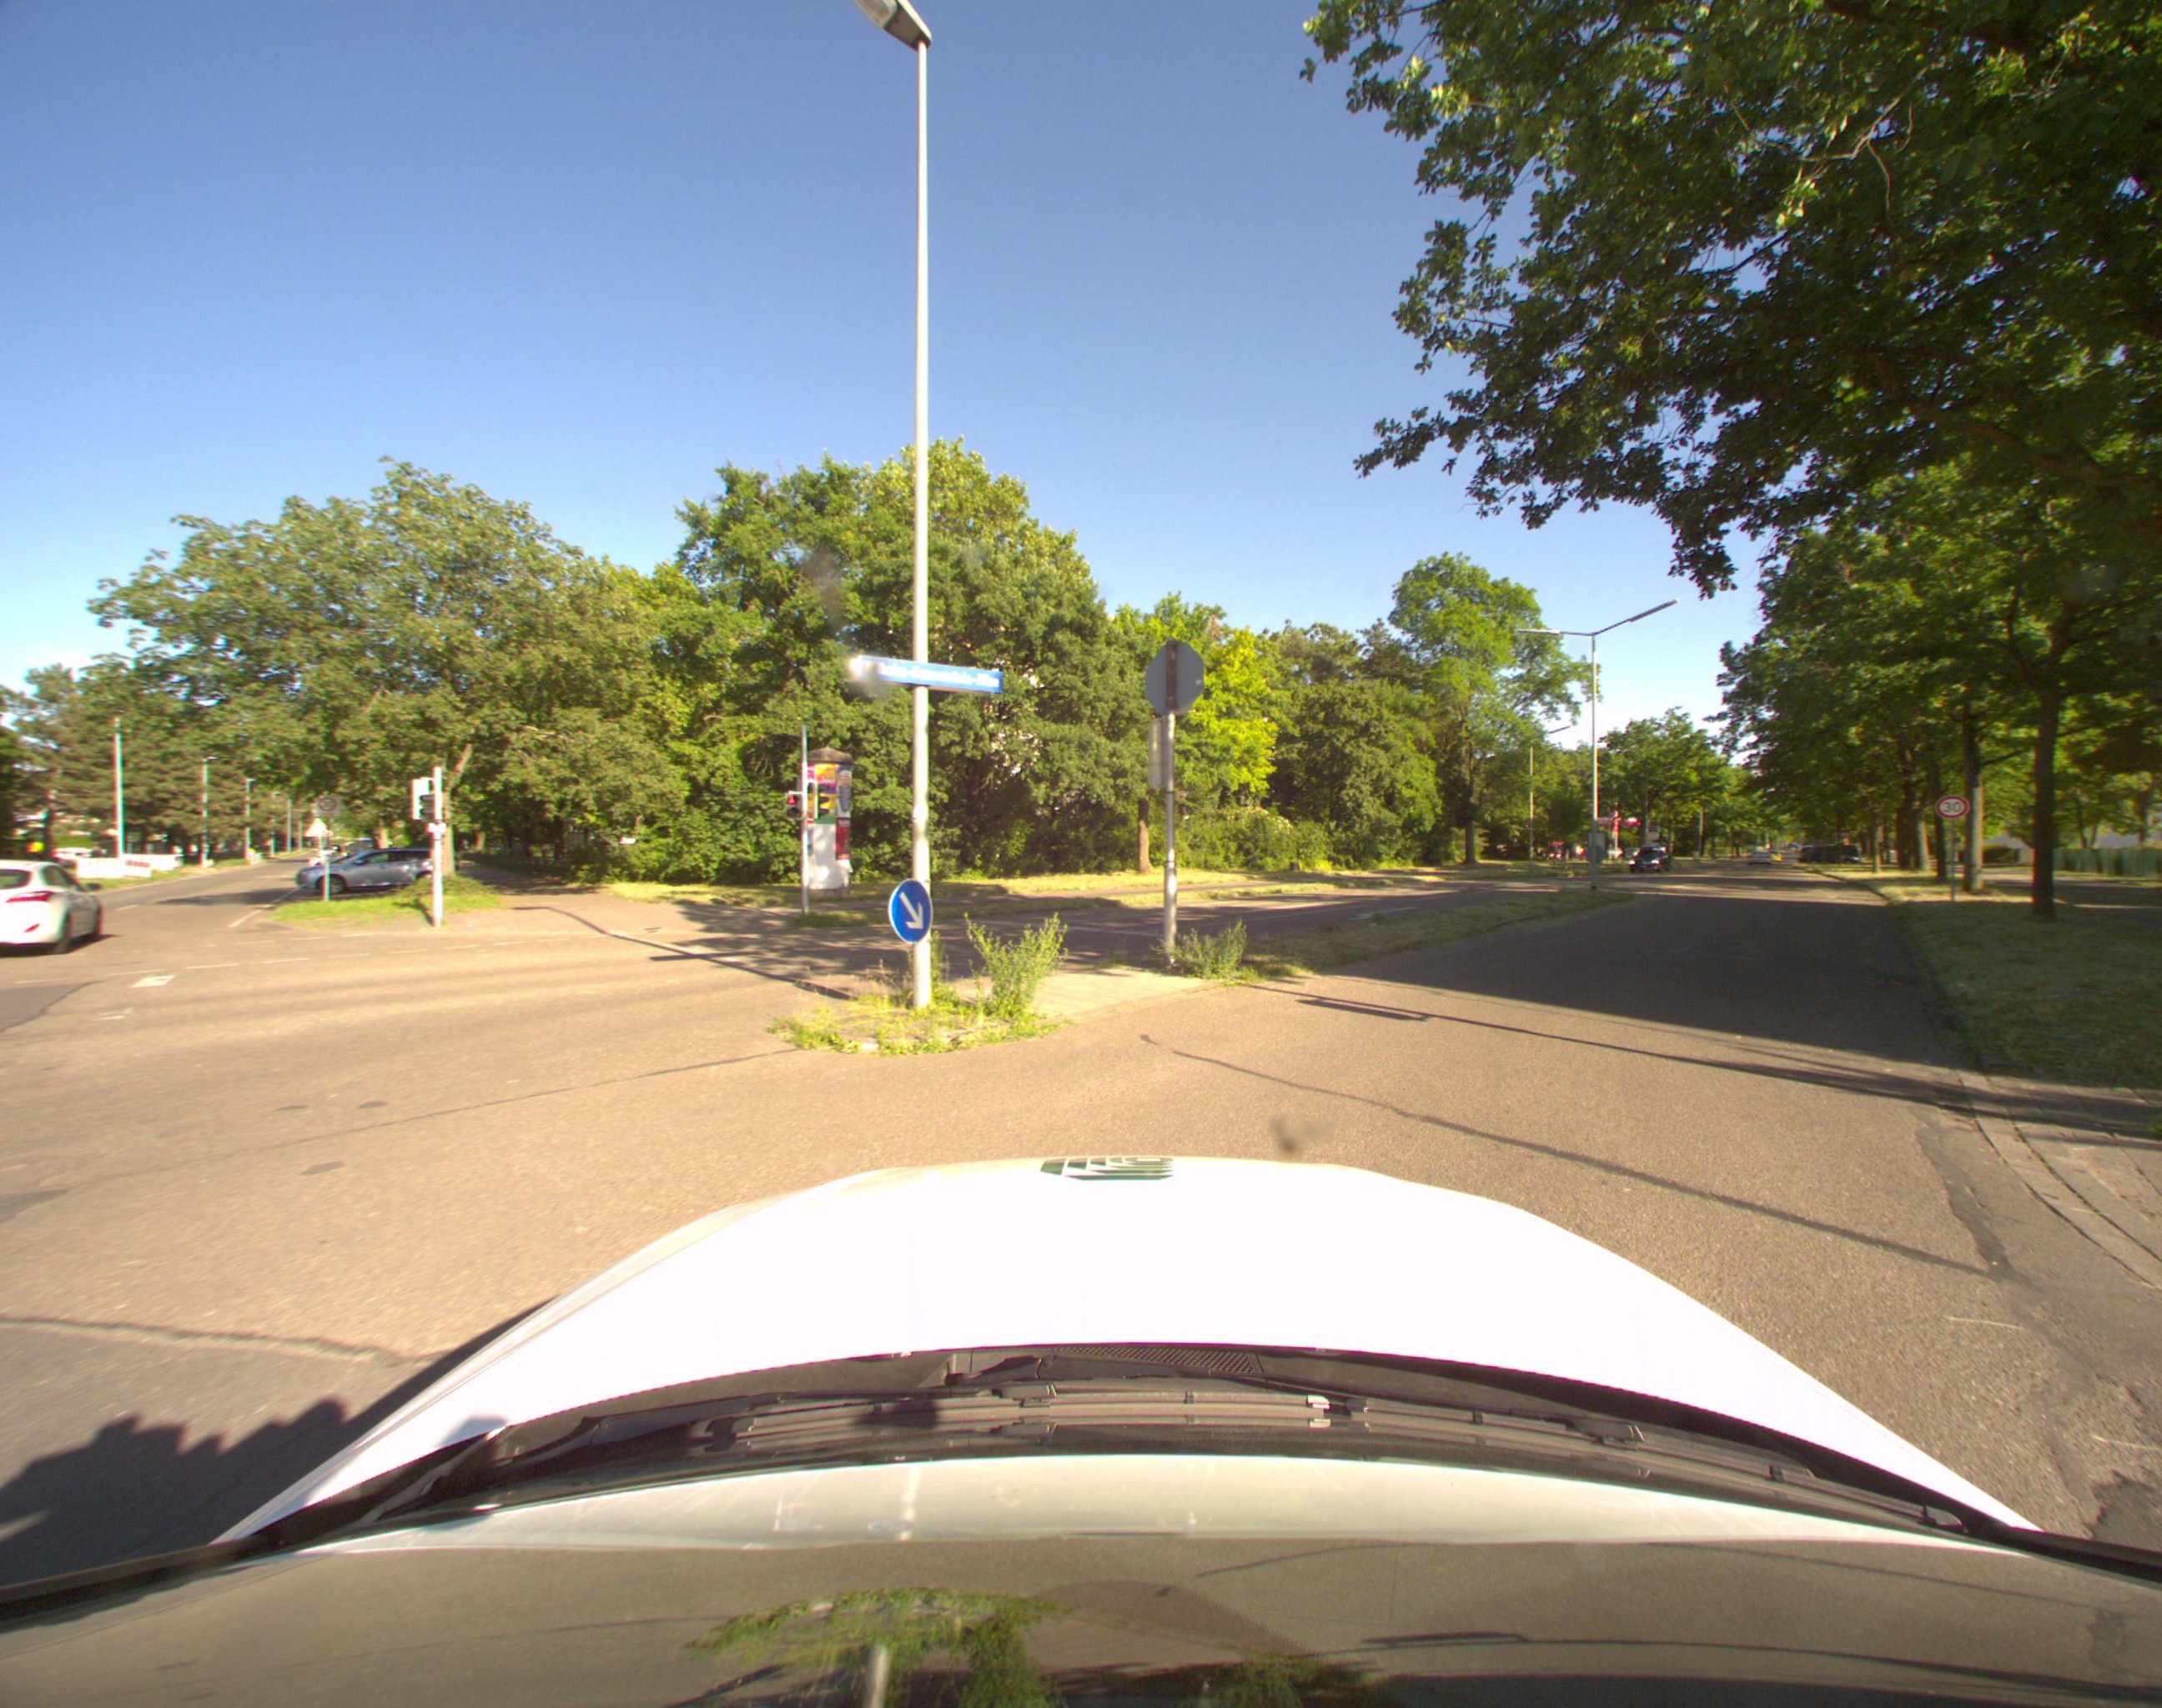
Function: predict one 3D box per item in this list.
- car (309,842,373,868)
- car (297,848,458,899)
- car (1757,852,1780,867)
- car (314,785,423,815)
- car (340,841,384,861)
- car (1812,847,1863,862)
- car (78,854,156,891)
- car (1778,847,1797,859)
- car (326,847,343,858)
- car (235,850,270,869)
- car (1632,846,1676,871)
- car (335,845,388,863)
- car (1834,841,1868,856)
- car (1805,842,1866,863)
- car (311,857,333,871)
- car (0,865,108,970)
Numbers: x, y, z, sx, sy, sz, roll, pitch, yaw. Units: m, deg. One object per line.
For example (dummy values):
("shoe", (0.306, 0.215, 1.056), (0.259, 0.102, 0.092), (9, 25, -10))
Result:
("car", (-61.916, 0.095, 68.209), (3.852, 2.098, 1.841), (1, -1, -42))
("car", (-26.536, 0.686, 30.936), (4.536, 1.783, 1.833), (0, 0, -39))
("car", (65.419, 0.526, 77.483), (1.645, 1.337, 3.687), (0, -1, 41))
("car", (-49.885, -3.739, 57.187), (5.662, 1.684, 1.925), (1, -1, -42))
("car", (-86.276, -0.351, 97.792), (3.852, 2.299, 1.841), (1, -1, -42))
("car", (73.881, 0.058, 79.627), (3.618, 1.398, 1.325), (0, -1, 42))
("car", (-49.678, 0.916, 42.049), (2.011, 1.816, 3.952), (0, 0, -41))
("car", (82.511, -0.055, 95.119), (1.645, 1.337, 3.687), (0, -1, 41))
("car", (-127.055, -0.306, 138.599), (2.010, 1.816, 3.952), (1, -1, -41))
("car", (-80.264, 0.521, 78.939), (2.010, 1.816, 3.952), (1, -1, -41))
("car", (40.575, 0.326, 57.610), (1.822, 1.708, 4.531), (-1, -1, 45))
("car", (-78.832, 0.040, 89.288), (4.338, 1.908, 1.841), (1, -1, -42))
("car", (111.062, -0.740, 117.474), (3.533, 2.051, 1.642), (0, -4, 42))
("car", (75.853, -0.132, 81.931), (4.460, 1.953, 1.698), (0, -1, 42))
("car", (-102.936, 1.350, 110.457), (2.010, 1.816, 3.952), (1, -1, -41))
("car", (-17.356, 0.946, 13.105), (1.806, 1.463, 3.914), (0, 0, -45))
